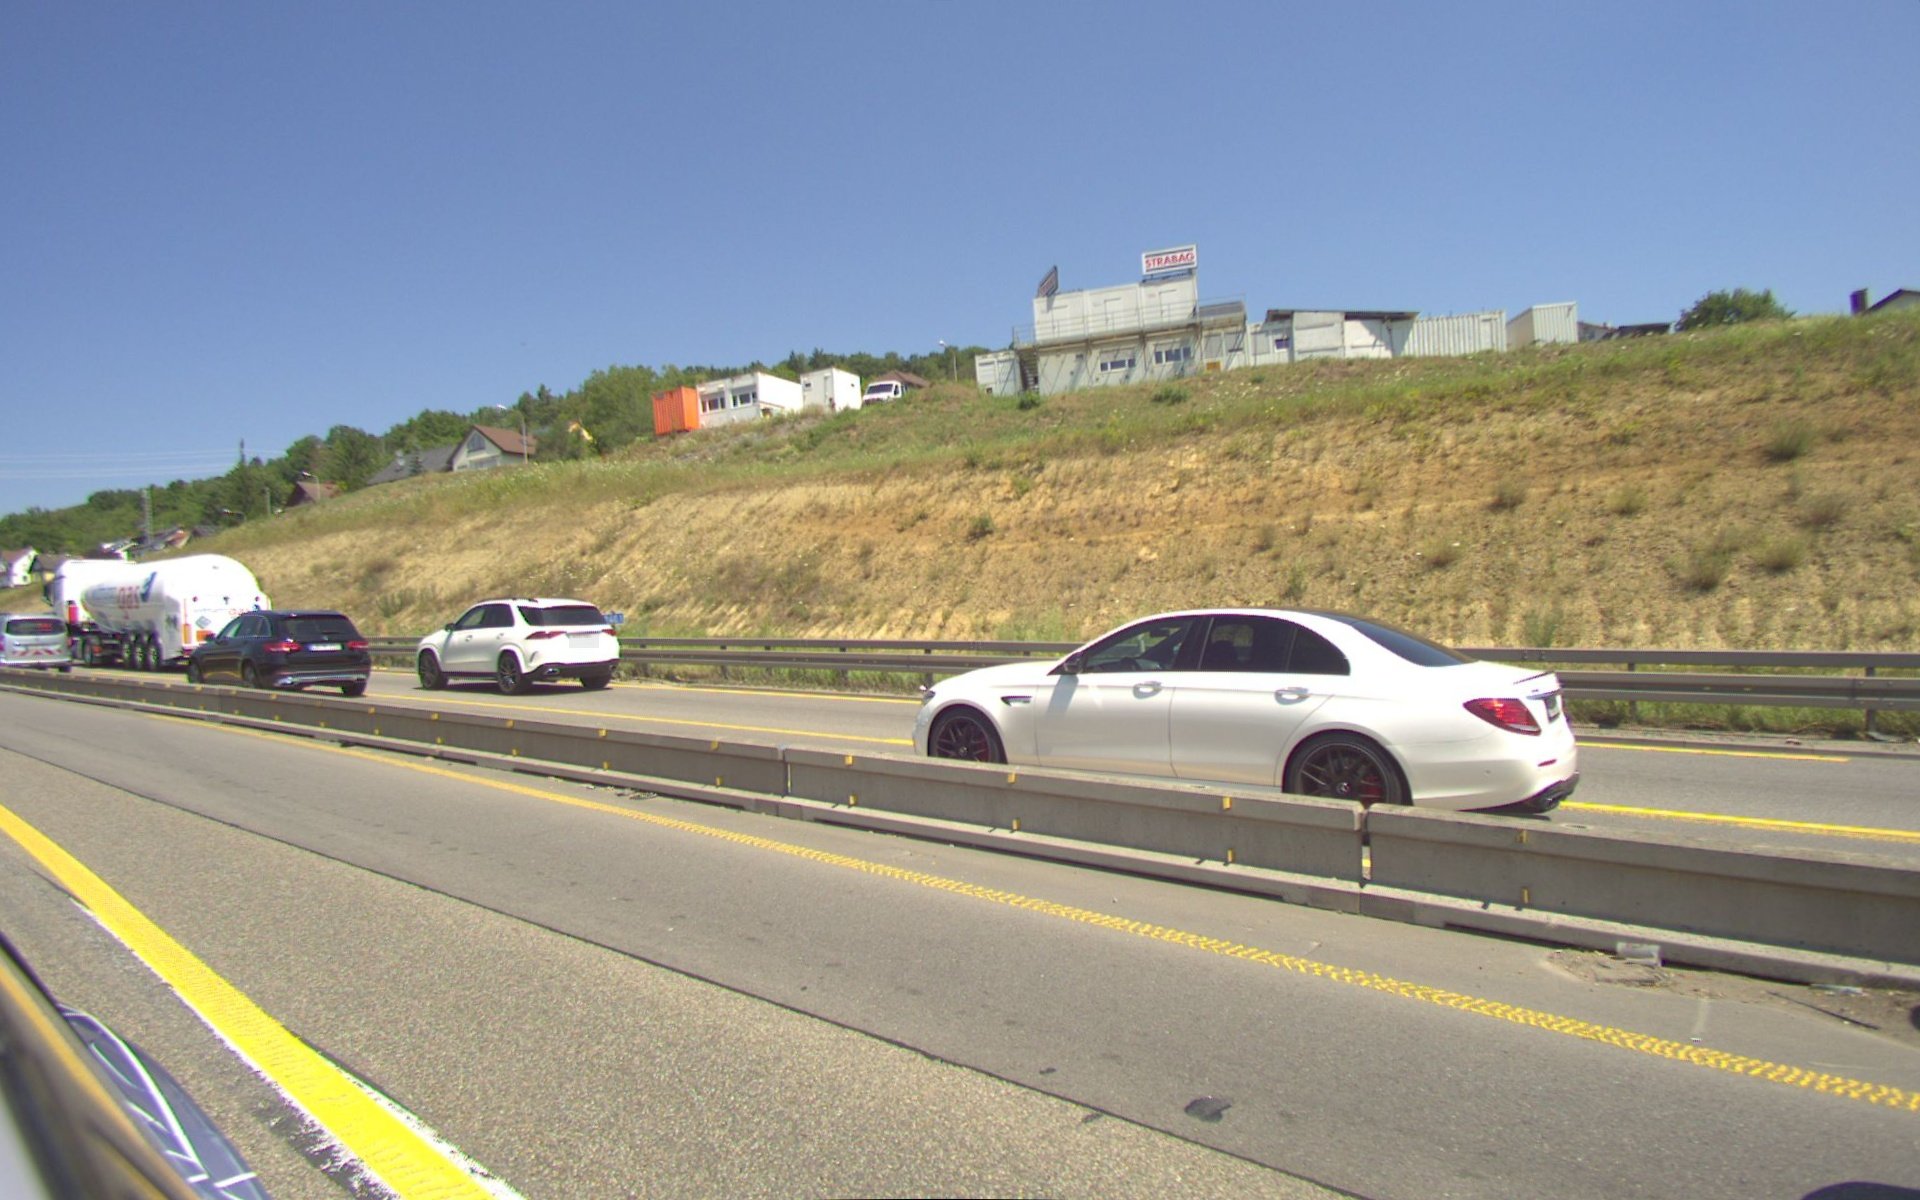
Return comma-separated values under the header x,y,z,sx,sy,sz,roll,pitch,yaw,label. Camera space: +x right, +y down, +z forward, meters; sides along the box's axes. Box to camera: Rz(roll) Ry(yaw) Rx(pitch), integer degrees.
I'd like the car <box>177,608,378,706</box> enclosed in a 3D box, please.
x,y,z,sx,sy,sz,roll,pitch,yaw,label
-13.015,1.034,19.192,4.726,1.624,1.774,-2,-1,38,car

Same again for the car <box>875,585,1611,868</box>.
x,y,z,sx,sy,sz,roll,pitch,yaw,label
1.848,0.718,7.580,4.933,1.475,1.943,-2,-1,38,car

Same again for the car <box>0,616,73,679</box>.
x,y,z,sx,sy,sz,roll,pitch,yaw,label
-28.609,1.419,30.598,4.475,1.758,1.862,-2,-2,38,car

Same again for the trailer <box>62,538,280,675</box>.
x,y,z,sx,sy,sz,roll,pitch,yaw,label
-25.882,0.327,32.838,11.896,3.830,2.566,-2,-1,37,trailer

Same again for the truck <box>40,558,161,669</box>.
x,y,z,sx,sy,sz,roll,pitch,yaw,label
-31.470,0.514,37.046,3.760,3.830,2.567,-2,-1,37,truck

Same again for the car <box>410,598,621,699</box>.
x,y,z,sx,sy,sz,roll,pitch,yaw,label
-8.782,0.921,19.851,4.528,1.776,1.775,-2,-1,36,car
